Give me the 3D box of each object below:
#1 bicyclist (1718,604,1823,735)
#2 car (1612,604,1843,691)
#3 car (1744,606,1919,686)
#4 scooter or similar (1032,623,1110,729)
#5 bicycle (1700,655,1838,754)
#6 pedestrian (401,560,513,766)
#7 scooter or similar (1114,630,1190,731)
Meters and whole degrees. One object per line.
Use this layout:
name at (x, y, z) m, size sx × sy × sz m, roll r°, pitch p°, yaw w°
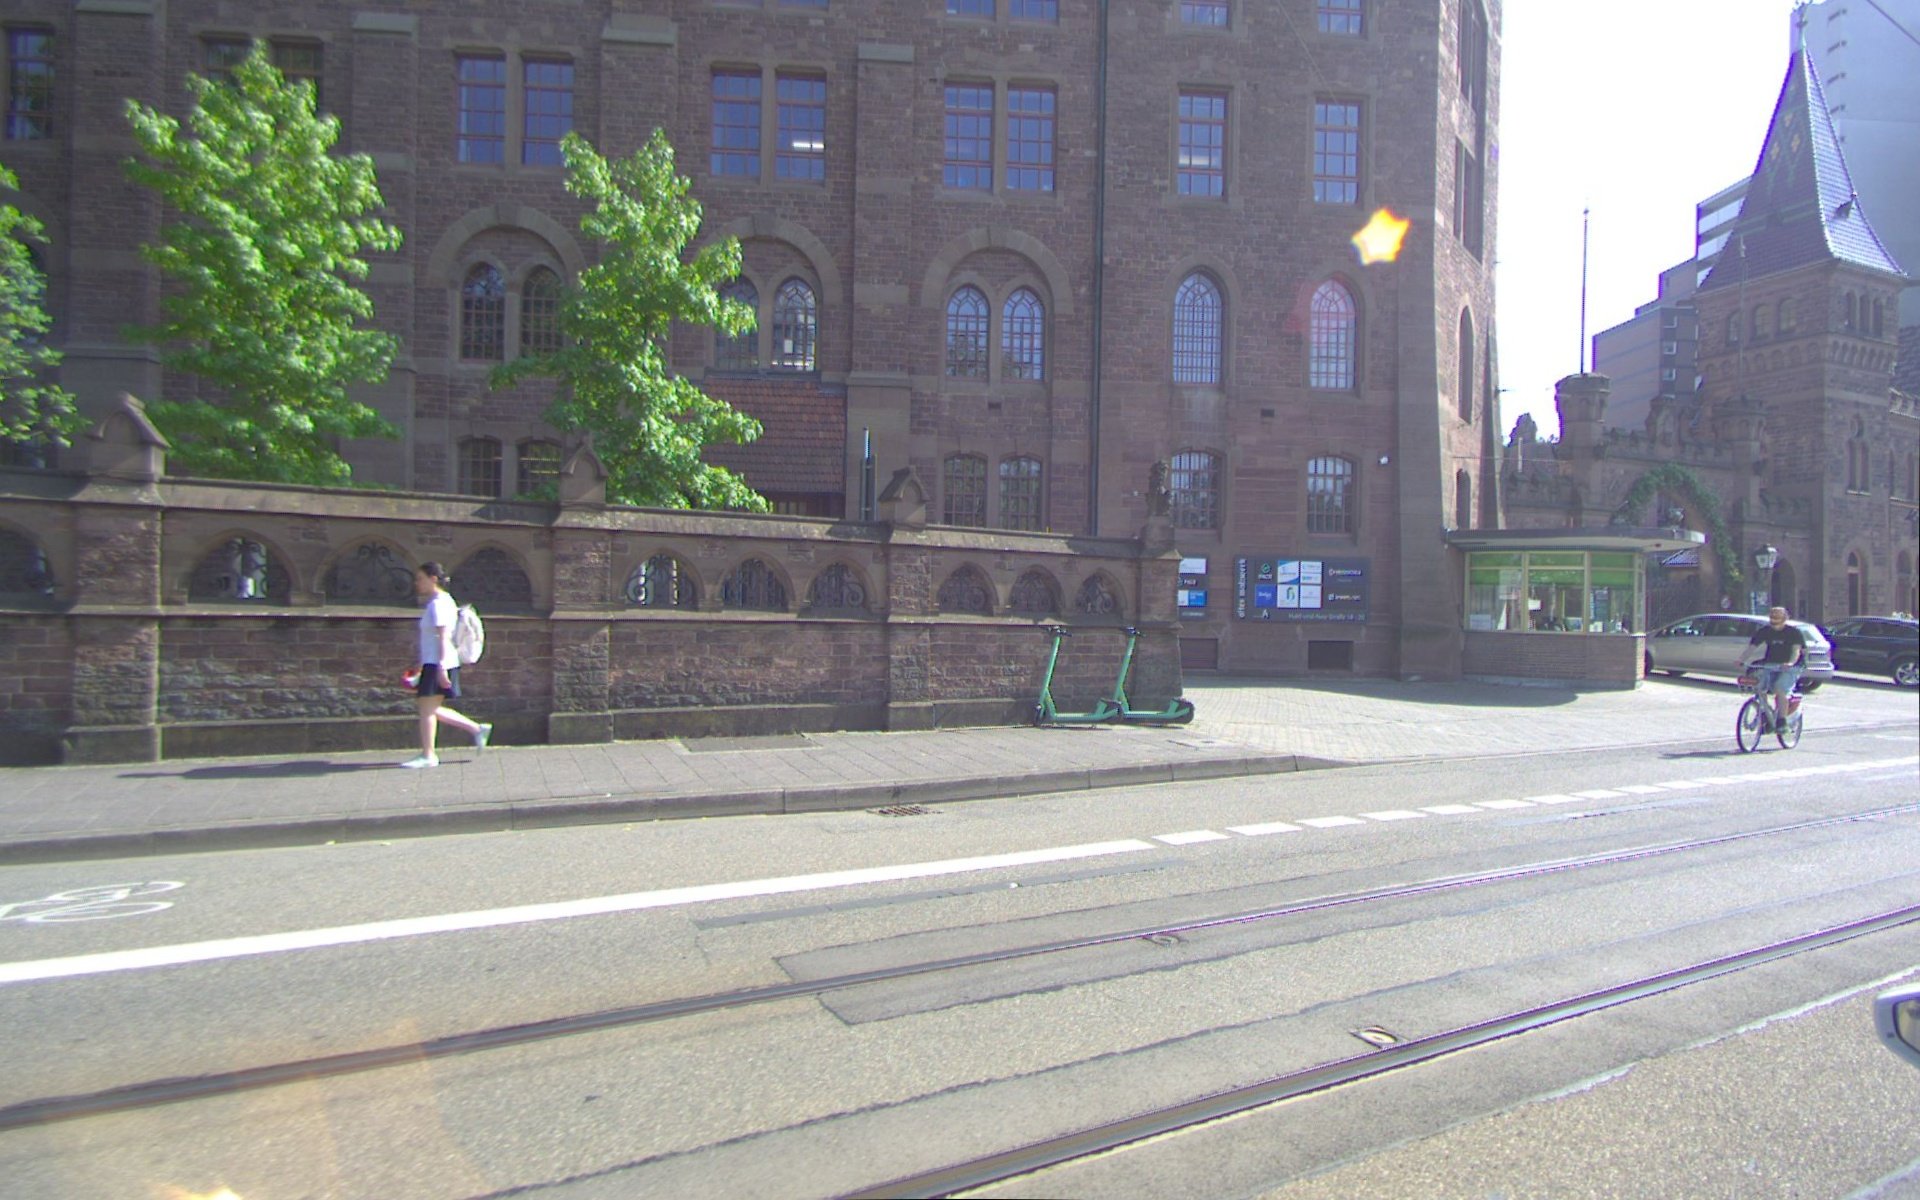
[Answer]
bicyclist at (10.420, 0.881, 12.918) m, size 1.074 × 1.601 × 0.694 m, roll 2°, pitch -2°, yaw -30°
car at (18.028, 1.046, 23.792) m, size 1.798 × 1.617 × 3.887 m, roll 1°, pitch 3°, yaw -25°
car at (23.383, 1.170, 26.012) m, size 1.934 × 1.668 × 4.375 m, roll 1°, pitch 3°, yaw -30°
scooter or similar at (1.305, 0.882, 11.821) m, size 0.802 × 1.163 × 0.283 m, roll 4°, pitch 1°, yaw 27°
bicycle at (10.365, 1.298, 12.860) m, size 2.014 × 1.173 × 0.694 m, roll 2°, pitch -3°, yaw -30°
pedestrian at (-4.181, 0.502, 8.360) m, size 0.765 × 1.610 × 0.712 m, roll 2°, pitch 0°, yaw -28°
scooter or similar at (2.371, 0.978, 12.410) m, size 0.802 × 1.163 × 0.283 m, roll 4°, pitch 1°, yaw 27°
